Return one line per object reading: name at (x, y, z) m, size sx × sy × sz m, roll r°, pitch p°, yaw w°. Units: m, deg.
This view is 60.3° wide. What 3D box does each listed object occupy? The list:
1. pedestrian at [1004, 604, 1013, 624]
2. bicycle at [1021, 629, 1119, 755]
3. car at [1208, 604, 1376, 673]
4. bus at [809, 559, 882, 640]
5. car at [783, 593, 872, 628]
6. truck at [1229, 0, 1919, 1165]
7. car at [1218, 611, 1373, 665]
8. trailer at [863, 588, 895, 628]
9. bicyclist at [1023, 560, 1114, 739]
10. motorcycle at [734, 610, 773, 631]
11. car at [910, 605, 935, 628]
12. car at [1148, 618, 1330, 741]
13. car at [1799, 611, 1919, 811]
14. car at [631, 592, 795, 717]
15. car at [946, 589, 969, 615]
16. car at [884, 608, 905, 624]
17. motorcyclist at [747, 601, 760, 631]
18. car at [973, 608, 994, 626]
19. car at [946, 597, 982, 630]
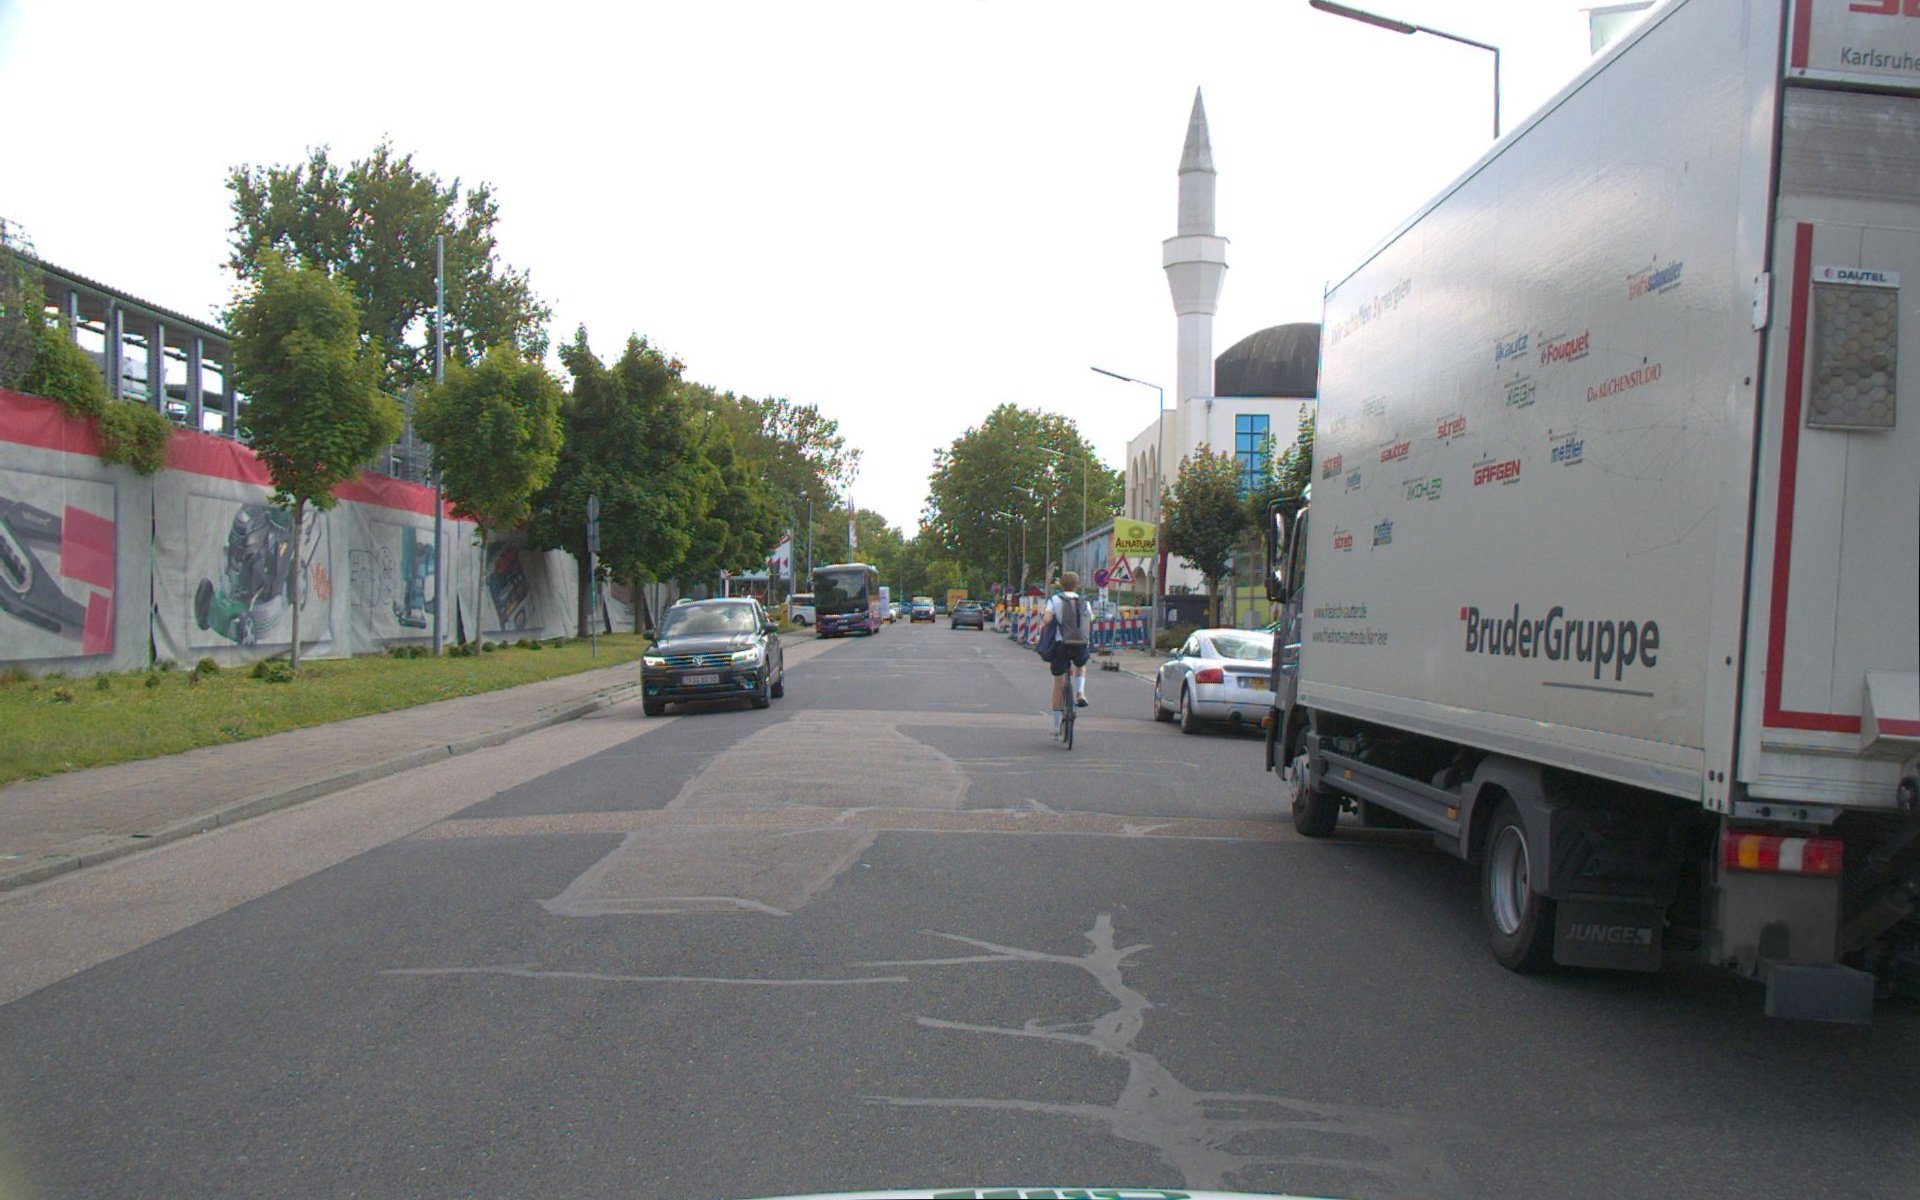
pedestrian at (3.878, 1.142, 133.417) m, size 0.667 × 1.560 × 1.130 m, roll 1°, pitch -1°, yaw 0°
bicycle at (1.145, 0.941, 17.830) m, size 0.782 × 1.201 × 2.626 m, roll 2°, pitch -1°, yaw -1°
car at (7.498, 0.858, 37.578) m, size 3.525 × 1.495 × 1.689 m, roll -1°, pitch 0°, yaw 3°
bus at (-5.475, 0.020, 80.990) m, size 2.609 × 3.482 × 13.216 m, roll -3°, pitch 0°, yaw -1°
car at (-7.773, 0.594, 97.294) m, size 4.895 × 1.983 × 1.993 m, roll 1°, pitch 0°, yaw 5°
truck at (3.607, -0.437, 8.827) m, size 2.722 × 4.188 × 8.277 m, roll 3°, pitch 0°, yaw -1°
car at (9.670, 1.073, 47.925) m, size 4.022 × 1.489 × 1.988 m, roll -1°, pitch 0°, yaw -4°
trailer at (-5.909, 0.598, 120.968) m, size 2.096 × 2.832 × 4.702 m, roll -1°, pitch 0°, yaw -1°
bicyclist at (1.152, 0.522, 17.795) m, size 0.790 × 1.824 × 1.206 m, roll 3°, pitch -1°, yaw -1°
motorcycle at (-12.158, 1.192, 97.598) m, size 2.175 × 1.235 × 0.994 m, roll 0°, pitch 0°, yaw 0°
car at (-2.853, 1.232, 125.302) m, size 1.830 × 1.658 × 4.126 m, roll 0°, pitch 0°, yaw -1°
car at (3.655, 1.002, 22.329) m, size 1.628 × 1.363 × 3.984 m, roll 4°, pitch 0°, yaw -1°
car at (9.332, 0.867, 13.829) m, size 3.809 × 1.549 × 1.747 m, roll 0°, pitch 0°, yaw -6°
car at (-3.686, 0.769, 25.399) m, size 1.836 × 1.648 × 4.293 m, roll -3°, pitch 0°, yaw -1°
car at (-0.301, 0.184, 174.168) m, size 2.155 × 2.623 × 6.401 m, roll 1°, pitch 0°, yaw -3°
car at (-6.204, 1.522, 156.444) m, size 1.674 × 1.445 × 4.331 m, roll -2°, pitch 0°, yaw 1°
motorcyclist at (-12.196, 0.930, 97.609) m, size 0.660 × 1.753 × 0.994 m, roll 0°, pitch -1°, yaw 0°
car at (2.109, 1.502, 146.750) m, size 1.771 × 1.415 × 4.588 m, roll 3°, pitch 0°, yaw 1°
car at (0.201, 0.789, 97.195) m, size 1.922 × 1.847 × 4.273 m, roll 1°, pitch 0°, yaw -2°
